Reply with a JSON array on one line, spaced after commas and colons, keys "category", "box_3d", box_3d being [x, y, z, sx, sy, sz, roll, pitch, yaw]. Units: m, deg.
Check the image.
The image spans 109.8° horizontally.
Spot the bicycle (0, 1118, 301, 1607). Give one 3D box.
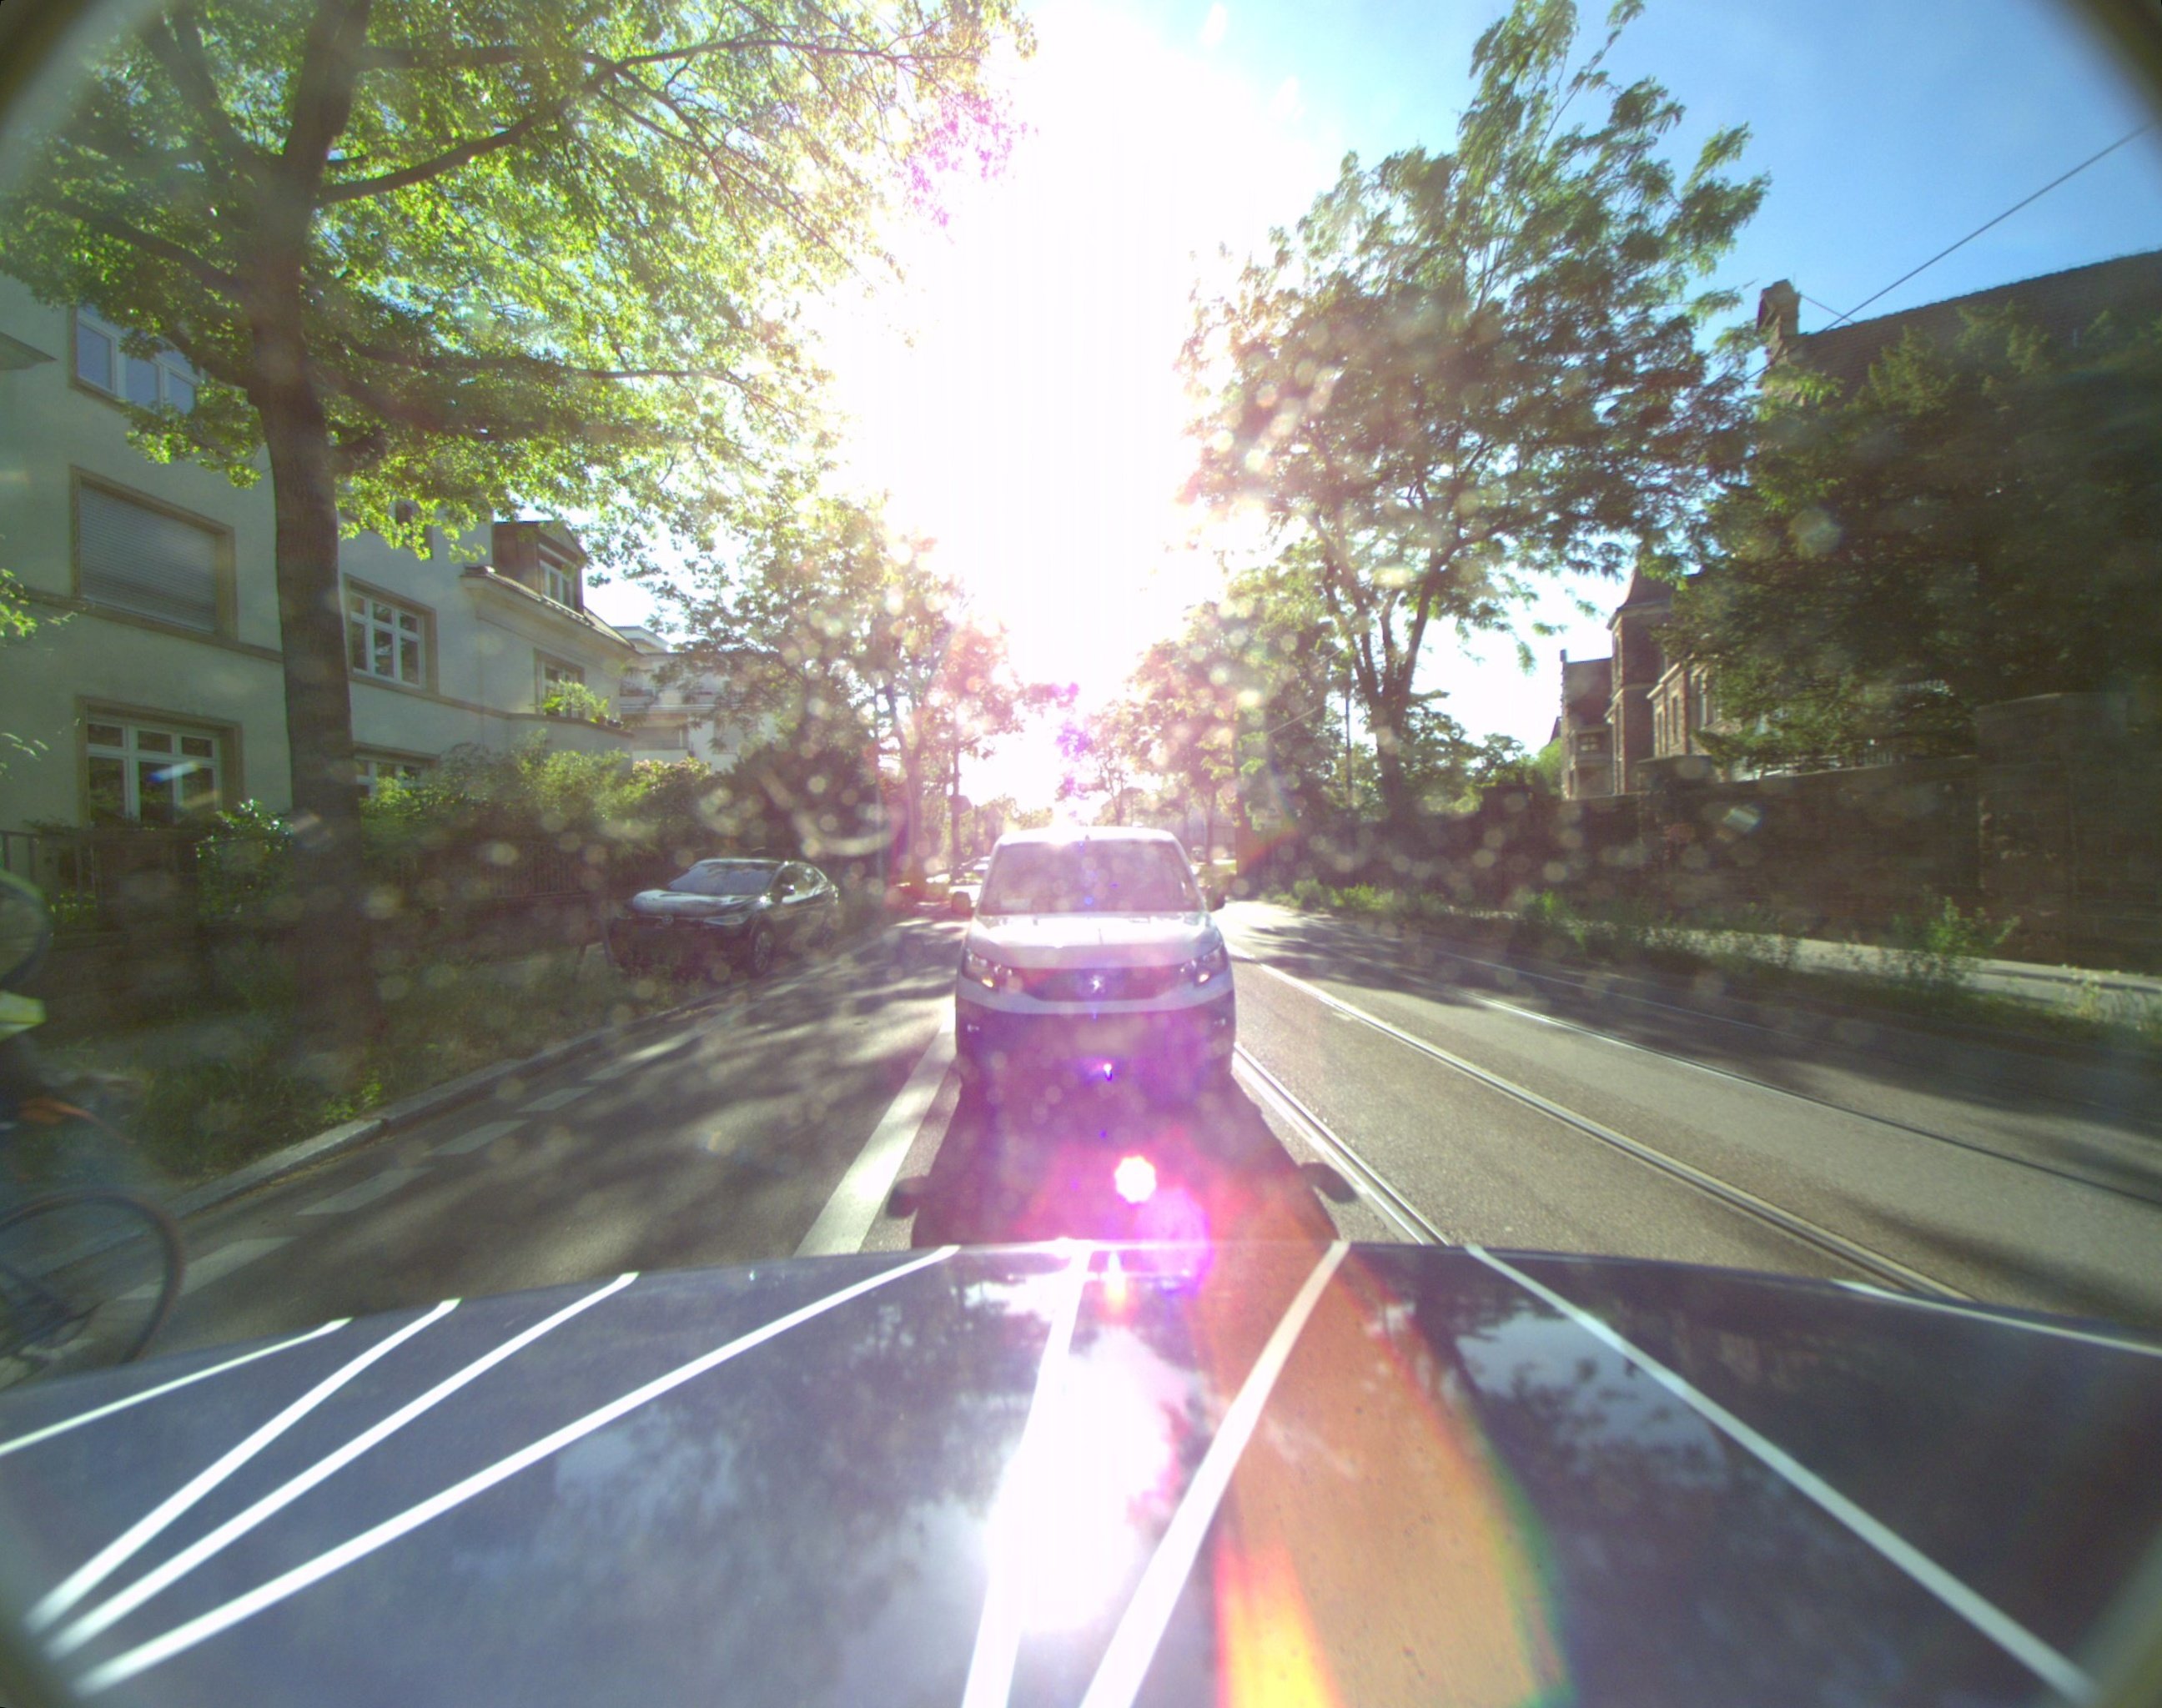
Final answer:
[{"category": "bicycle", "box_3d": [-2.907, 1.328, 1.533, 0.677, 0.920, 1.885, -2, 0, 1]}]

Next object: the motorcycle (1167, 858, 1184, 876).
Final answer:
[{"category": "motorcycle", "box_3d": [6.192, 0.852, 49.931, 0.611, 1.087, 1.855, -2, 0, -7]}]

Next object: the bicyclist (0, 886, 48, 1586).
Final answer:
[{"category": "bicyclist", "box_3d": [-2.912, 0.912, 1.492, 0.677, 1.648, 0.745, -2, 1, 1]}]

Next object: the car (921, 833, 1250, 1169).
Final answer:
[{"category": "car", "box_3d": [0.018, 0.797, 6.144, 1.768, 1.812, 3.999, -1, 0, 0]}]

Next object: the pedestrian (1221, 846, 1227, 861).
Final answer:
[{"category": "pedestrian", "box_3d": [23.624, -0.072, 125.690, 0.767, 2.353, 0.927, -2, 1, 17]}]

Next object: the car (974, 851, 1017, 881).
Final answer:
[{"category": "car", "box_3d": [-5.042, 0.661, 45.216, 1.823, 1.630, 4.001, -2, 0, 4]}]

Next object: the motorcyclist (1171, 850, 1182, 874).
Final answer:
[{"category": "motorcyclist", "box_3d": [6.230, 0.510, 49.541, 0.608, 1.507, 0.465, -2, 1, -8]}]

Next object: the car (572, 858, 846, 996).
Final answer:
[{"category": "car", "box_3d": [-5.252, 0.931, 11.542, 1.999, 1.665, 4.380, 1, -1, 0]}]

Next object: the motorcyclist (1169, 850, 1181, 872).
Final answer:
[{"category": "motorcyclist", "box_3d": [6.170, 0.472, 50.019, 0.686, 1.432, 0.446, -2, 1, -6]}]

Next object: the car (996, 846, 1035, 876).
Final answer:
[{"category": "car", "box_3d": [-4.413, 0.448, 51.990, 2.129, 1.884, 4.746, -2, 0, 1]}]
